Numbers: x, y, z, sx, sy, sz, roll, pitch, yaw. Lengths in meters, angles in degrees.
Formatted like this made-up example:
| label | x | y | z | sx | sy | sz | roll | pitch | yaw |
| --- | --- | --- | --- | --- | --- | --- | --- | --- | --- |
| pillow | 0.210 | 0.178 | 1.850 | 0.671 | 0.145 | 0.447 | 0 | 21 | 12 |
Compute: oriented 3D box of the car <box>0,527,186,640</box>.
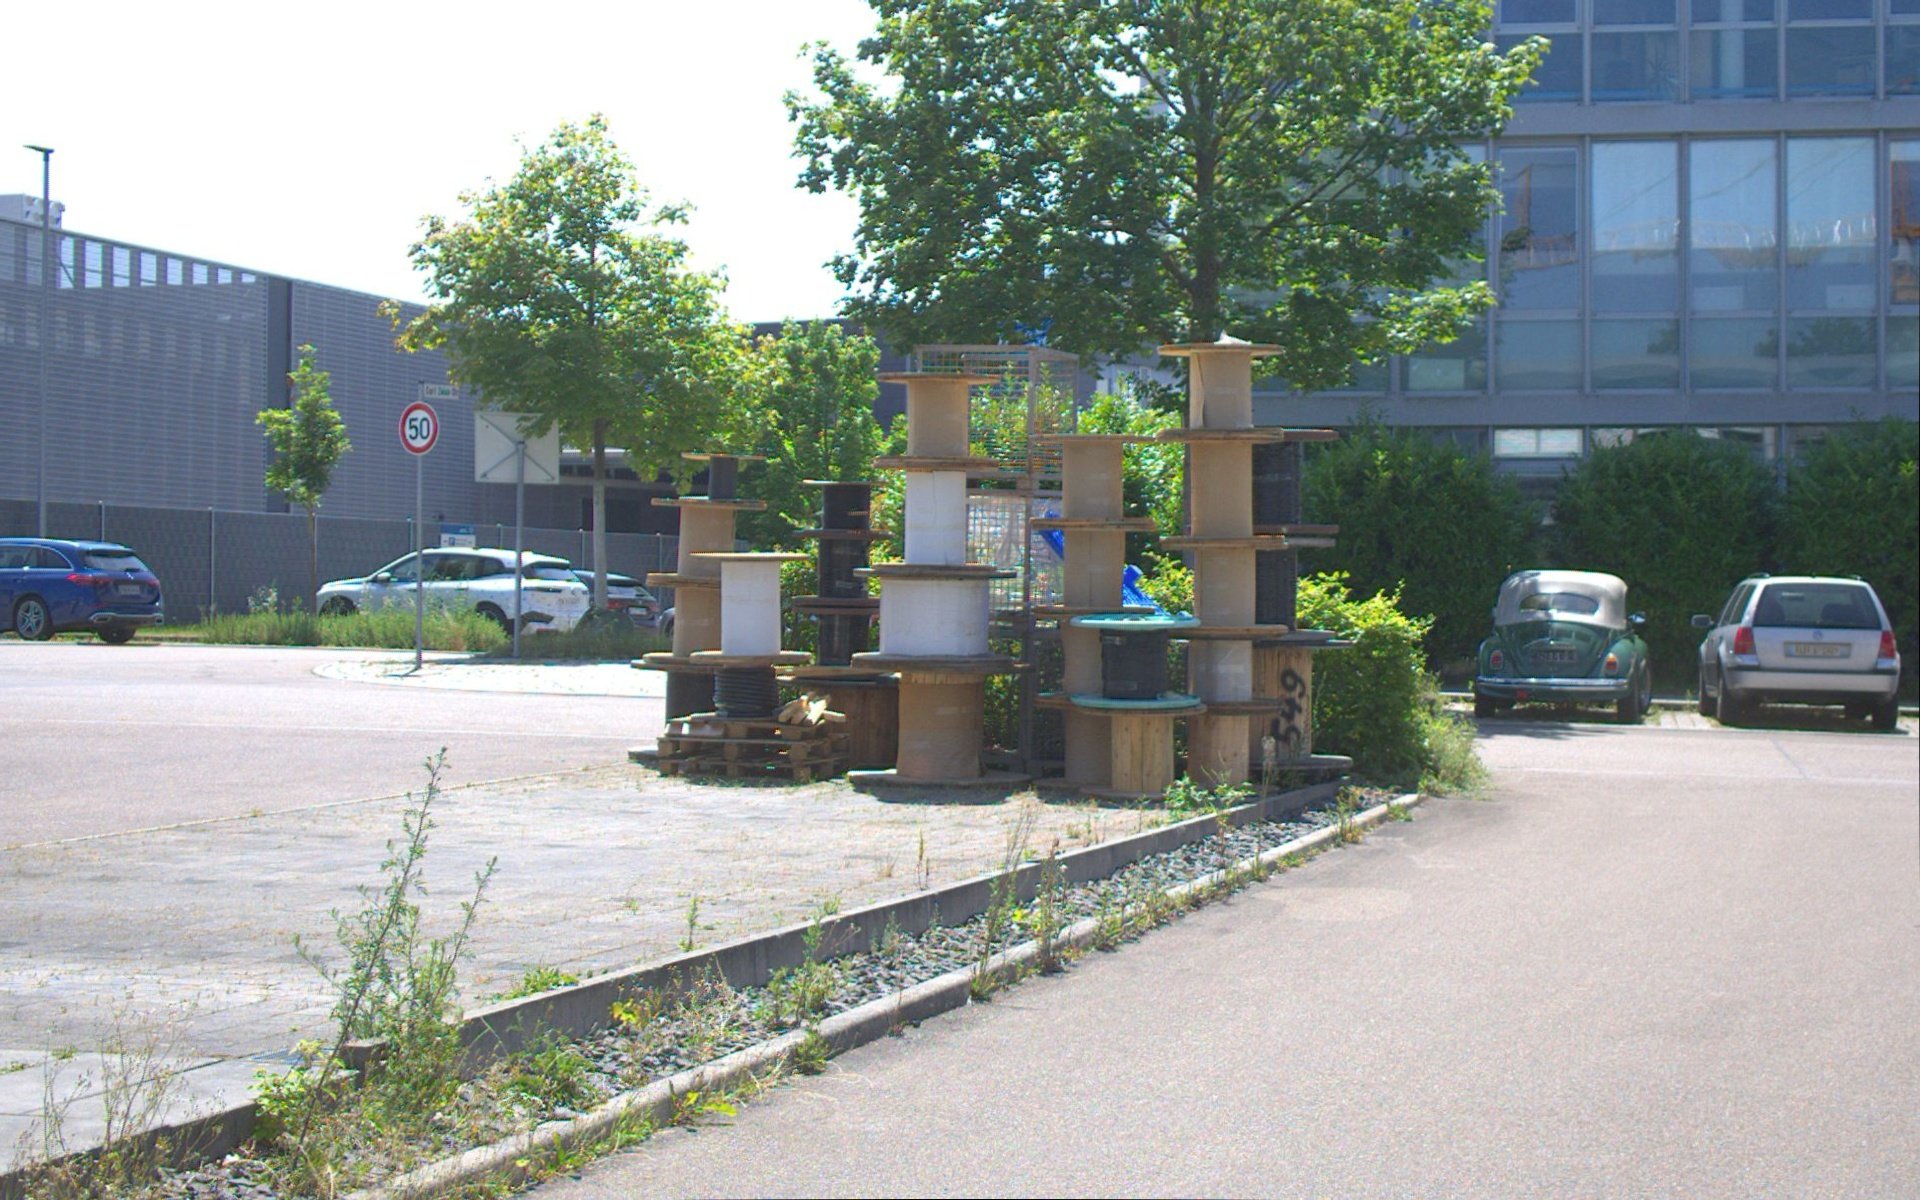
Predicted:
| label | x | y | z | sx | sy | sz | roll | pitch | yaw |
| --- | --- | --- | --- | --- | --- | --- | --- | --- | --- |
| car | -13.406 | -0.282 | 48.869 | 4.507 | 1.486 | 1.997 | 2 | 2 | 30 |

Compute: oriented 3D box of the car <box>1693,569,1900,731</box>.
| label | x | y | z | sx | sy | sz | roll | pitch | yaw |
| --- | --- | --- | --- | --- | --- | --- | --- | --- | --- |
| car | 8.286 | 0.452 | 34.296 | 1.732 | 1.444 | 3.652 | 2 | 1 | 10 |

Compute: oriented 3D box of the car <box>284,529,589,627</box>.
| label | x | y | z | sx | sy | sz | roll | pitch | yaw |
| --- | --- | --- | --- | --- | --- | --- | --- | --- | --- |
| car | -8.786 | -0.385 | 57.563 | 4.847 | 1.486 | 1.997 | 2 | 2 | 30 |

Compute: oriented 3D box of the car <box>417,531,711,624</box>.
| label | x | y | z | sx | sy | sz | roll | pitch | yaw |
| --- | --- | --- | --- | --- | --- | --- | --- | --- | --- |
| car | -6.935 | -0.416 | 60.018 | 4.847 | 1.486 | 1.997 | 2 | 2 | 30 |

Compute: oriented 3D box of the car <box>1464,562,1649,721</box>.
| label | x | y | z | sx | sy | sz | roll | pitch | yaw |
| --- | --- | --- | --- | --- | --- | --- | --- | --- | --- |
| car | 6.054 | 0.374 | 34.648 | 1.542 | 1.444 | 3.652 | 2 | 1 | 14 |
